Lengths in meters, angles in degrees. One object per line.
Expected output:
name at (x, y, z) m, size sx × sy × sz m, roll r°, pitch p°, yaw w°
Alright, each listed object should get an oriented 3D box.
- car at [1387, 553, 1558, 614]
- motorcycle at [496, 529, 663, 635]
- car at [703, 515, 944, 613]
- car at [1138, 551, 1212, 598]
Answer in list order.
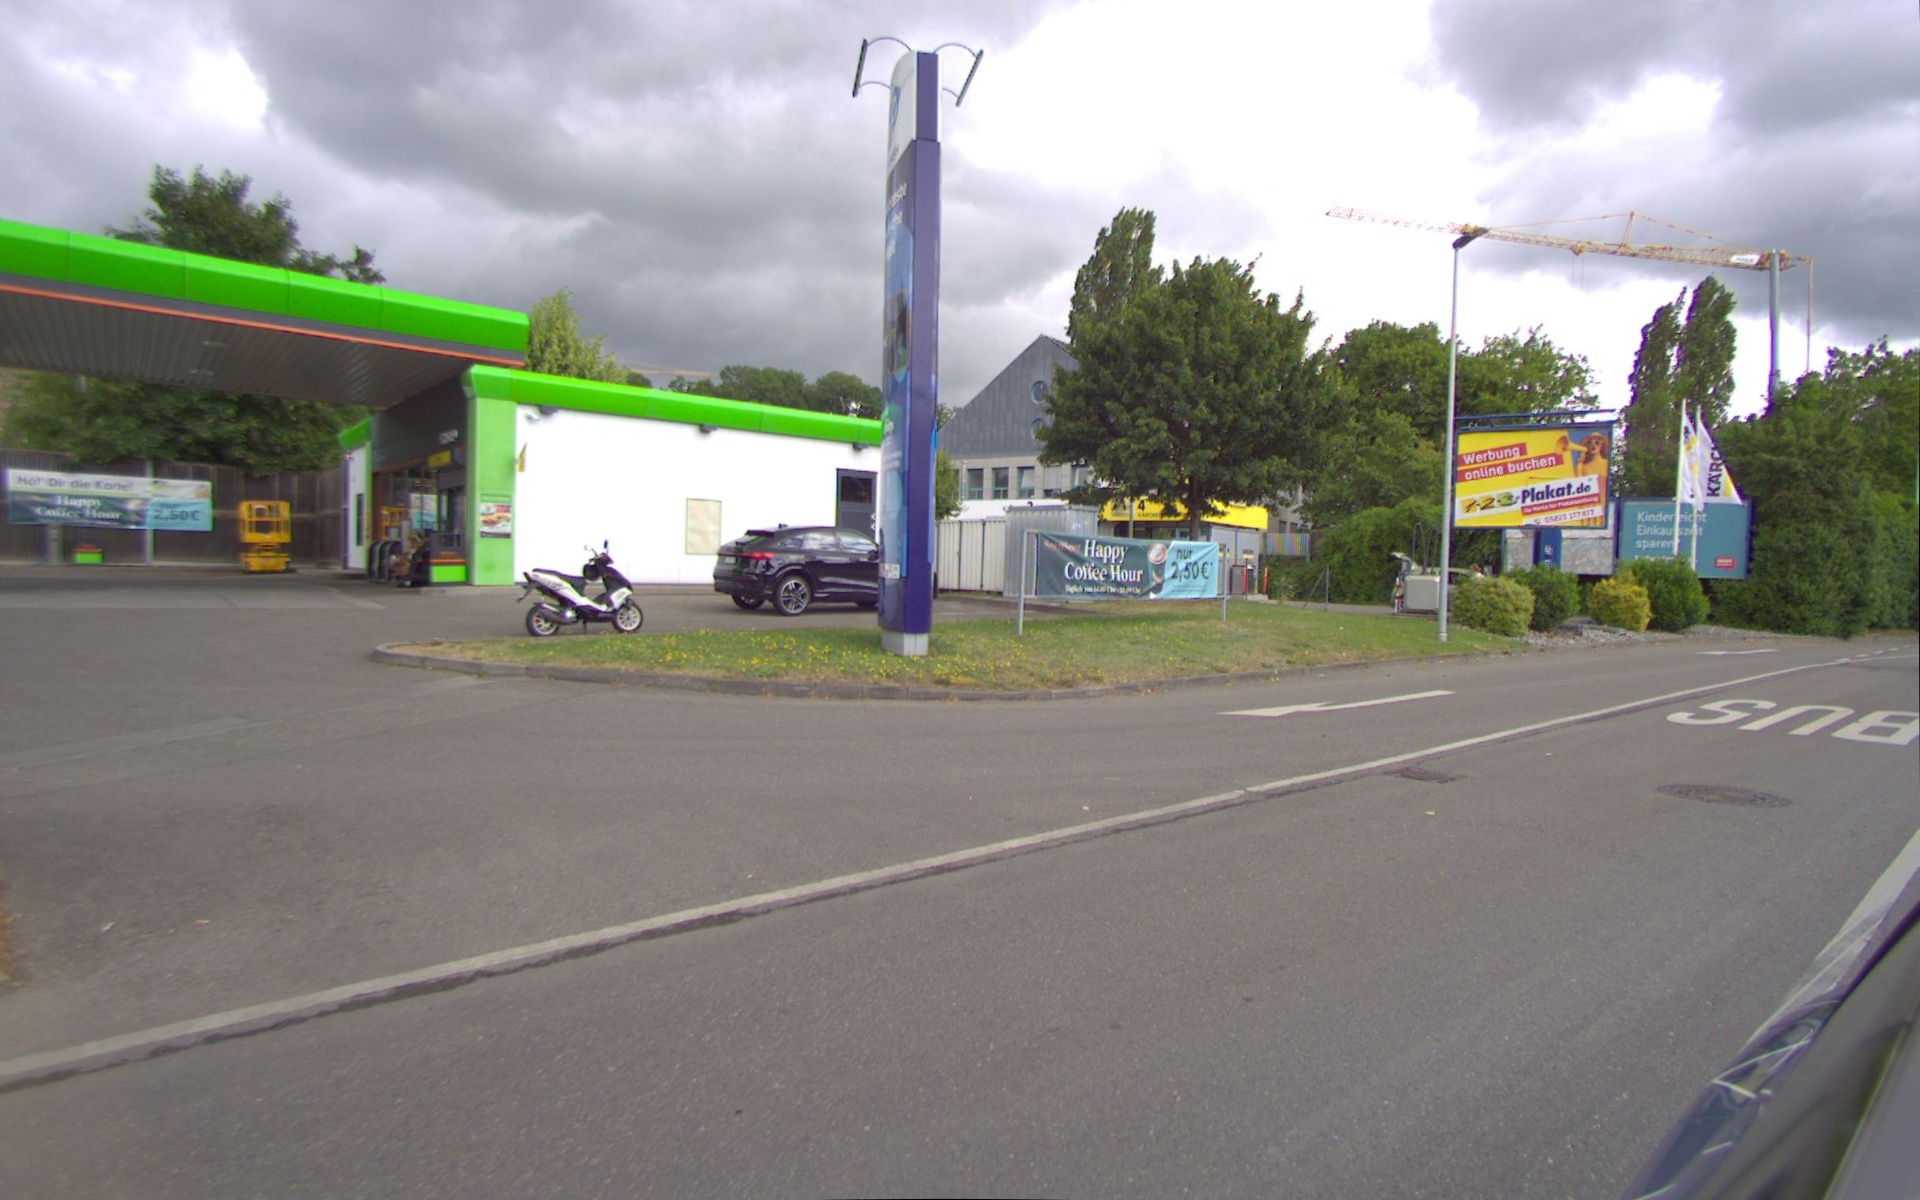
car at (15.737, -0.543, 31.125) m, size 4.017 × 1.676 × 2.900 m, roll 4°, pitch 3°, yaw 43°
motorcycle at (-5.171, -0.247, 13.830) m, size 1.955 × 1.347 × 0.857 m, roll 0°, pitch 2°, yaw -41°
car at (-2.575, -0.716, 19.559) m, size 4.257 × 1.694 × 1.827 m, roll -1°, pitch 4°, yaw -37°
car at (8.185, -0.960, 38.319) m, size 1.620 × 1.660 × 3.490 m, roll 3°, pitch 2°, yaw 32°
